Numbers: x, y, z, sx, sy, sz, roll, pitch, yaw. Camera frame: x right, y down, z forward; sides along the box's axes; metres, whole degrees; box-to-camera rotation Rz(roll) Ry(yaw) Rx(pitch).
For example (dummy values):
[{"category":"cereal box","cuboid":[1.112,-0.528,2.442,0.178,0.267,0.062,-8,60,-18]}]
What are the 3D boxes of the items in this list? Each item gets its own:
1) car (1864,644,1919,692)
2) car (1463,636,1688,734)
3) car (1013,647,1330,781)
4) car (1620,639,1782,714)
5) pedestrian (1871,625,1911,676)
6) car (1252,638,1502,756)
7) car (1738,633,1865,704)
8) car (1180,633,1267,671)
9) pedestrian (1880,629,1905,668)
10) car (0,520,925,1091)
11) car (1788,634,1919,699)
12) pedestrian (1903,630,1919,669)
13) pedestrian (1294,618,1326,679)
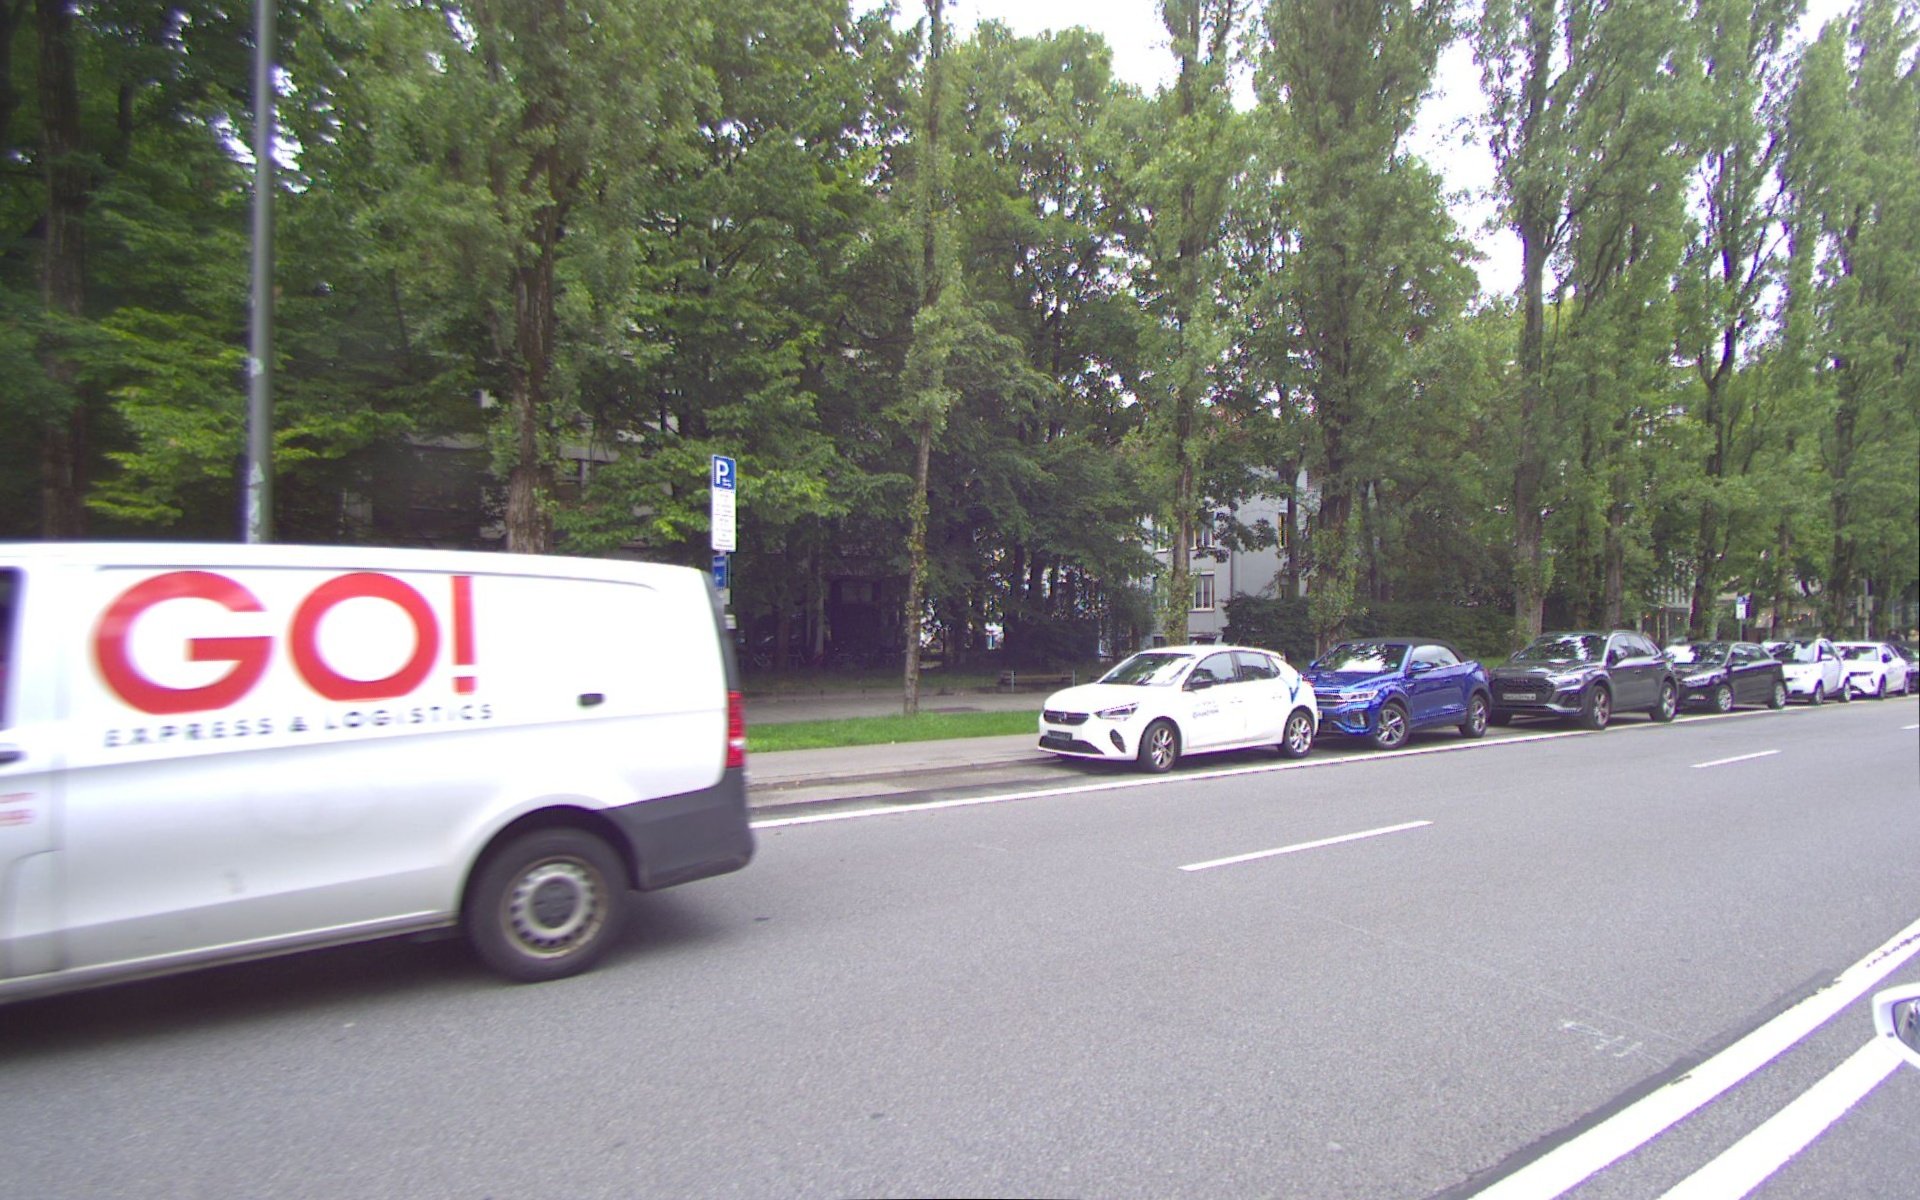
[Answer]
[{"category":"car","cuboid":[28.055,1.962,29.484,3.807,1.290,1.282,1,-2,-33]},{"category":"car","cuboid":[11.087,1.469,18.022,4.294,1.568,1.781,1,-5,-34]},{"category":"car","cuboid":[2.749,1.338,12.766,3.963,1.431,1.675,1,-4,-34]},{"category":"car","cuboid":[15.811,1.602,21.386,3.829,1.451,1.530,1,-5,-34]},{"category":"pedestrian","cuboid":[33.227,1.788,35.839,1.070,1.787,0.816,1,-2,-35]},{"category":"car","cuboid":[6.376,1.370,15.181,4.082,1.538,1.730,2,-4,-39]},{"category":"car","cuboid":[20.261,1.592,24.159,3.406,1.572,1.402,1,-2,-33]},{"category":"car","cuboid":[12.641,2.454,48.057,4.233,1.706,1.977,1,-2,-41]},{"category":"pedestrian","cuboid":[49.957,2.597,53.800,0.770,2.040,0.825,1,-2,-35]},{"category":"car","cuboid":[-3.132,0.757,4.754,5.633,1.916,2.171,1,-3,-33]},{"category":"car","cuboid":[23.447,1.679,26.274,3.959,1.568,1.698,1,-2,-34]},{"category":"pedestrian","cuboid":[50.515,2.588,53.106,0.770,2.040,0.825,1,-2,-35]},{"category":"pedestrian","cuboid":[10.163,1.404,29.154,0.633,1.762,0.596,1,-2,-33]}]
